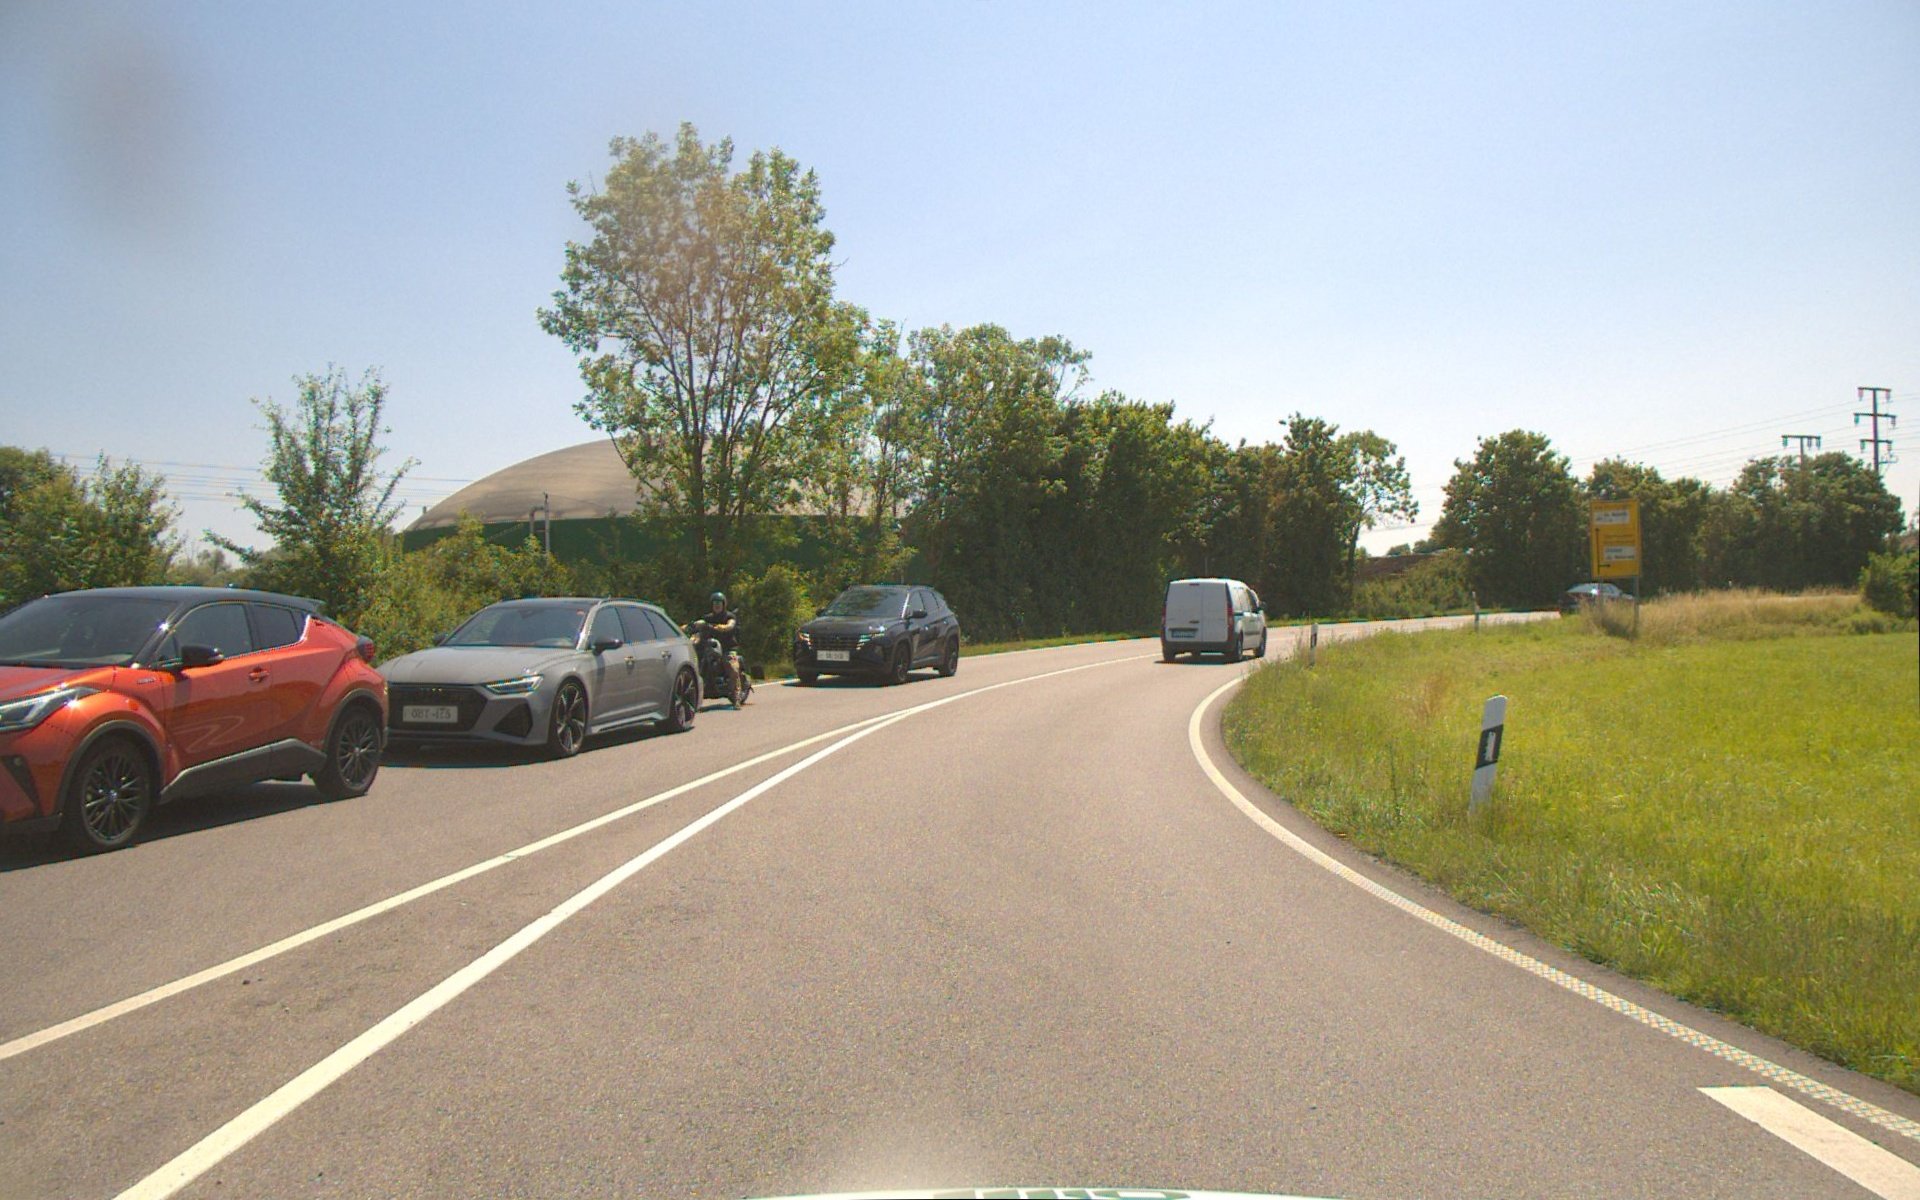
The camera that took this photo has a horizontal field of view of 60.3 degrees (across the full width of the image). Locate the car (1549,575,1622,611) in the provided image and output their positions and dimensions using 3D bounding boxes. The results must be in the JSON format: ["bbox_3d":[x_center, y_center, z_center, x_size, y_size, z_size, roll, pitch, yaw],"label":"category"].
[{"bbox_3d":[26.776,-0.323,70.777,1.694,1.445,3.723,-2,-1,42],"label":"car"}]

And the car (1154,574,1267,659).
[{"bbox_3d":[5.727,0.365,37.449,1.864,1.763,3.824,-2,-1,18],"label":"car"}]

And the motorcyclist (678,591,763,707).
[{"bbox_3d":[-3.211,0.645,22.260,0.764,1.521,1.132,-1,-1,12],"label":"motorcyclist"}]

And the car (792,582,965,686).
[{"bbox_3d":[-1.326,0.522,28.799,1.666,1.666,4.252,0,1,17],"label":"car"}]

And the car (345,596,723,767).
[{"bbox_3d":[-4.141,0.705,17.033,1.802,1.485,4.813,0,0,12],"label":"car"}]

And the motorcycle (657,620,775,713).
[{"bbox_3d":[-3.234,0.854,22.208,0.765,1.143,2.432,0,0,12],"label":"motorcycle"}]

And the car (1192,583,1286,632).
[{"bbox_3d":[8.877,0.237,52.473,1.511,1.468,3.594,1,0,36],"label":"car"}]

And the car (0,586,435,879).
[{"bbox_3d":[-5.467,0.681,11.074,1.760,1.542,4.396,0,1,12],"label":"car"}]
